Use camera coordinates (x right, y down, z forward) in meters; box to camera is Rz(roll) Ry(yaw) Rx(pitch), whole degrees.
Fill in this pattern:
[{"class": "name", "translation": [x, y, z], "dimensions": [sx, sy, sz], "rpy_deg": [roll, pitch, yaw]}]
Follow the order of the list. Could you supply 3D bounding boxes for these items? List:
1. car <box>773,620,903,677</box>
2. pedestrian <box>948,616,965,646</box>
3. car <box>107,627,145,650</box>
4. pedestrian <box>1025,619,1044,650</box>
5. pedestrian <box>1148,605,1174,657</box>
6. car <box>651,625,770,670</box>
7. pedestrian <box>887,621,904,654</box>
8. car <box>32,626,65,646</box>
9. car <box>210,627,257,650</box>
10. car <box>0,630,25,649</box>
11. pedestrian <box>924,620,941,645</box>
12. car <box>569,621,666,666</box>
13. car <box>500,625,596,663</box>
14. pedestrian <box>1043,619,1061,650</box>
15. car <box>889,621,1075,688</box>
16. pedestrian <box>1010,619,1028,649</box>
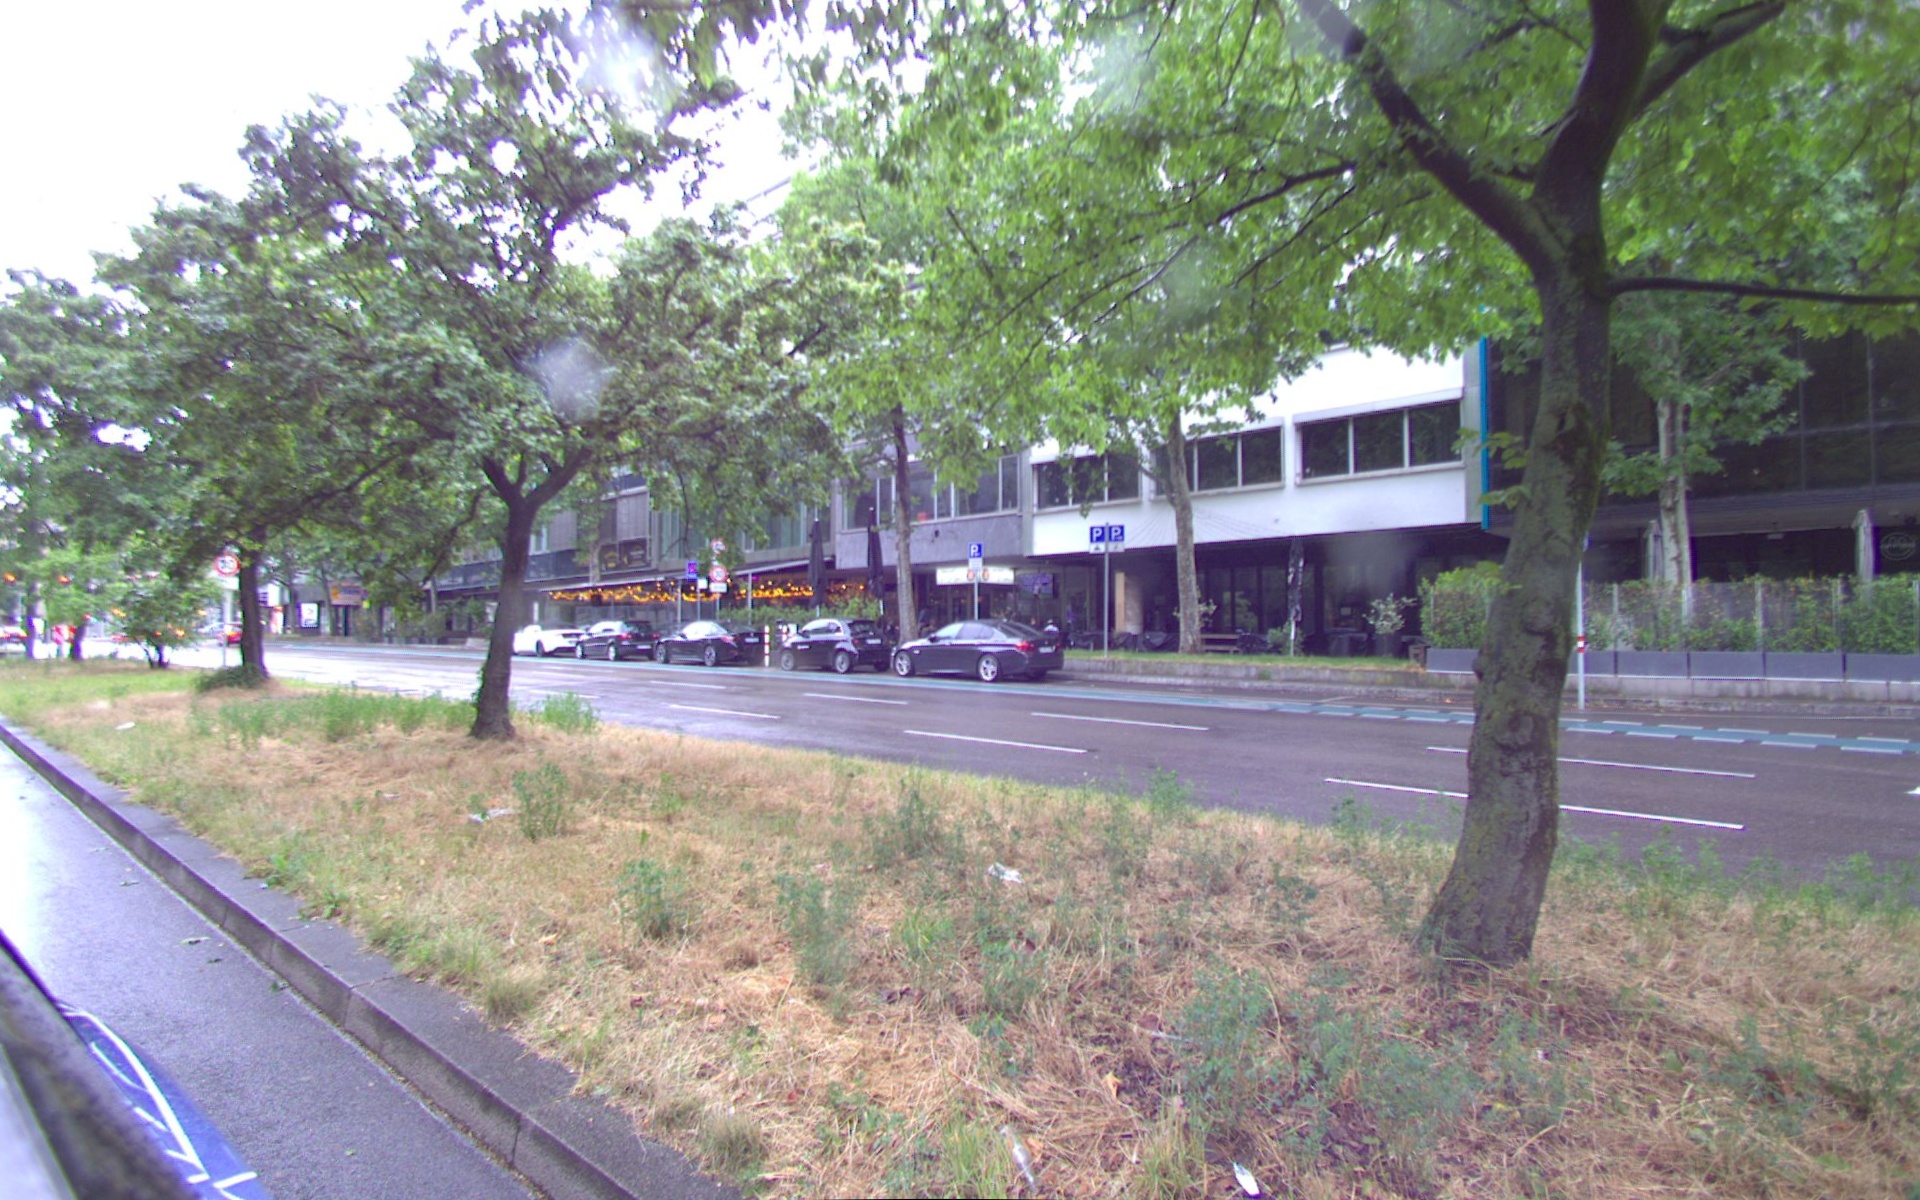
[{"class": "car", "translation": [-3.447, 1.311, 28.322], "dimensions": [3.400, 1.433, 1.851], "rpy_deg": [0, 0, 42]}, {"class": "pedestrian", "translation": [-0.126, 1.072, 35.482], "dimensions": [0.423, 1.024, 0.459], "rpy_deg": [-1, 0, 39]}, {"class": "car", "translation": [-69.420, 3.173, 84.249], "dimensions": [3.954, 1.799, 1.913], "rpy_deg": [0, 0, 42]}, {"class": "pedestrian", "translation": [2.446, 1.129, 33.150], "dimensions": [0.488, 1.008, 0.481], "rpy_deg": [-1, 0, 26]}, {"class": "pedestrian", "translation": [6.578, 1.009, 33.049], "dimensions": [0.623, 1.660, 0.598], "rpy_deg": [-1, 0, 37]}, {"class": "car", "translation": [-8.040, 1.489, 32.421], "dimensions": [4.319, 1.249, 1.625], "rpy_deg": [0, 0, 44]}, {"class": "pedestrian", "translation": [-2.376, 1.374, 37.387], "dimensions": [0.464, 1.195, 0.441], "rpy_deg": [-1, 0, 26]}, {"class": "car", "translation": [-89.401, 3.532, 99.246], "dimensions": [3.997, 1.829, 1.973], "rpy_deg": [-1, 0, 41]}, {"class": "car", "translation": [-47.077, 2.463, 65.565], "dimensions": [3.737, 1.335, 1.742], "rpy_deg": [0, 0, 42]}, {"class": "car", "translation": [-77.021, 3.205, 81.757], "dimensions": [3.524, 1.400, 1.657], "rpy_deg": [-1, 0, 39]}, {"class": "pedestrian", "translation": [-0.979, 1.165, 36.458], "dimensions": [0.433, 0.856, 0.435], "rpy_deg": [-1, 0, 39]}, {"class": "car", "translation": [-12.428, 1.543, 36.612], "dimensions": [3.788, 1.464, 1.727], "rpy_deg": [0, 0, 42]}, {"class": "car", "translation": [-16.505, 1.723, 40.403], "dimensions": [4.392, 1.336, 1.856], "rpy_deg": [0, 0, 43]}, {"class": "pedestrian", "translation": [3.006, 1.121, 32.919], "dimensions": [0.451, 0.970, 0.454], "rpy_deg": [-1, 0, 26]}, {"class": "car", "translation": [0.444, 1.255, 24.742], "dimensions": [1.849, 1.396, 4.539], "rpy_deg": [-1, 0, -45]}, {"class": "pedestrian", "translation": [1.959, 1.121, 33.496], "dimensions": [0.461, 1.000, 0.455], "rpy_deg": [-1, 0, 26]}]
